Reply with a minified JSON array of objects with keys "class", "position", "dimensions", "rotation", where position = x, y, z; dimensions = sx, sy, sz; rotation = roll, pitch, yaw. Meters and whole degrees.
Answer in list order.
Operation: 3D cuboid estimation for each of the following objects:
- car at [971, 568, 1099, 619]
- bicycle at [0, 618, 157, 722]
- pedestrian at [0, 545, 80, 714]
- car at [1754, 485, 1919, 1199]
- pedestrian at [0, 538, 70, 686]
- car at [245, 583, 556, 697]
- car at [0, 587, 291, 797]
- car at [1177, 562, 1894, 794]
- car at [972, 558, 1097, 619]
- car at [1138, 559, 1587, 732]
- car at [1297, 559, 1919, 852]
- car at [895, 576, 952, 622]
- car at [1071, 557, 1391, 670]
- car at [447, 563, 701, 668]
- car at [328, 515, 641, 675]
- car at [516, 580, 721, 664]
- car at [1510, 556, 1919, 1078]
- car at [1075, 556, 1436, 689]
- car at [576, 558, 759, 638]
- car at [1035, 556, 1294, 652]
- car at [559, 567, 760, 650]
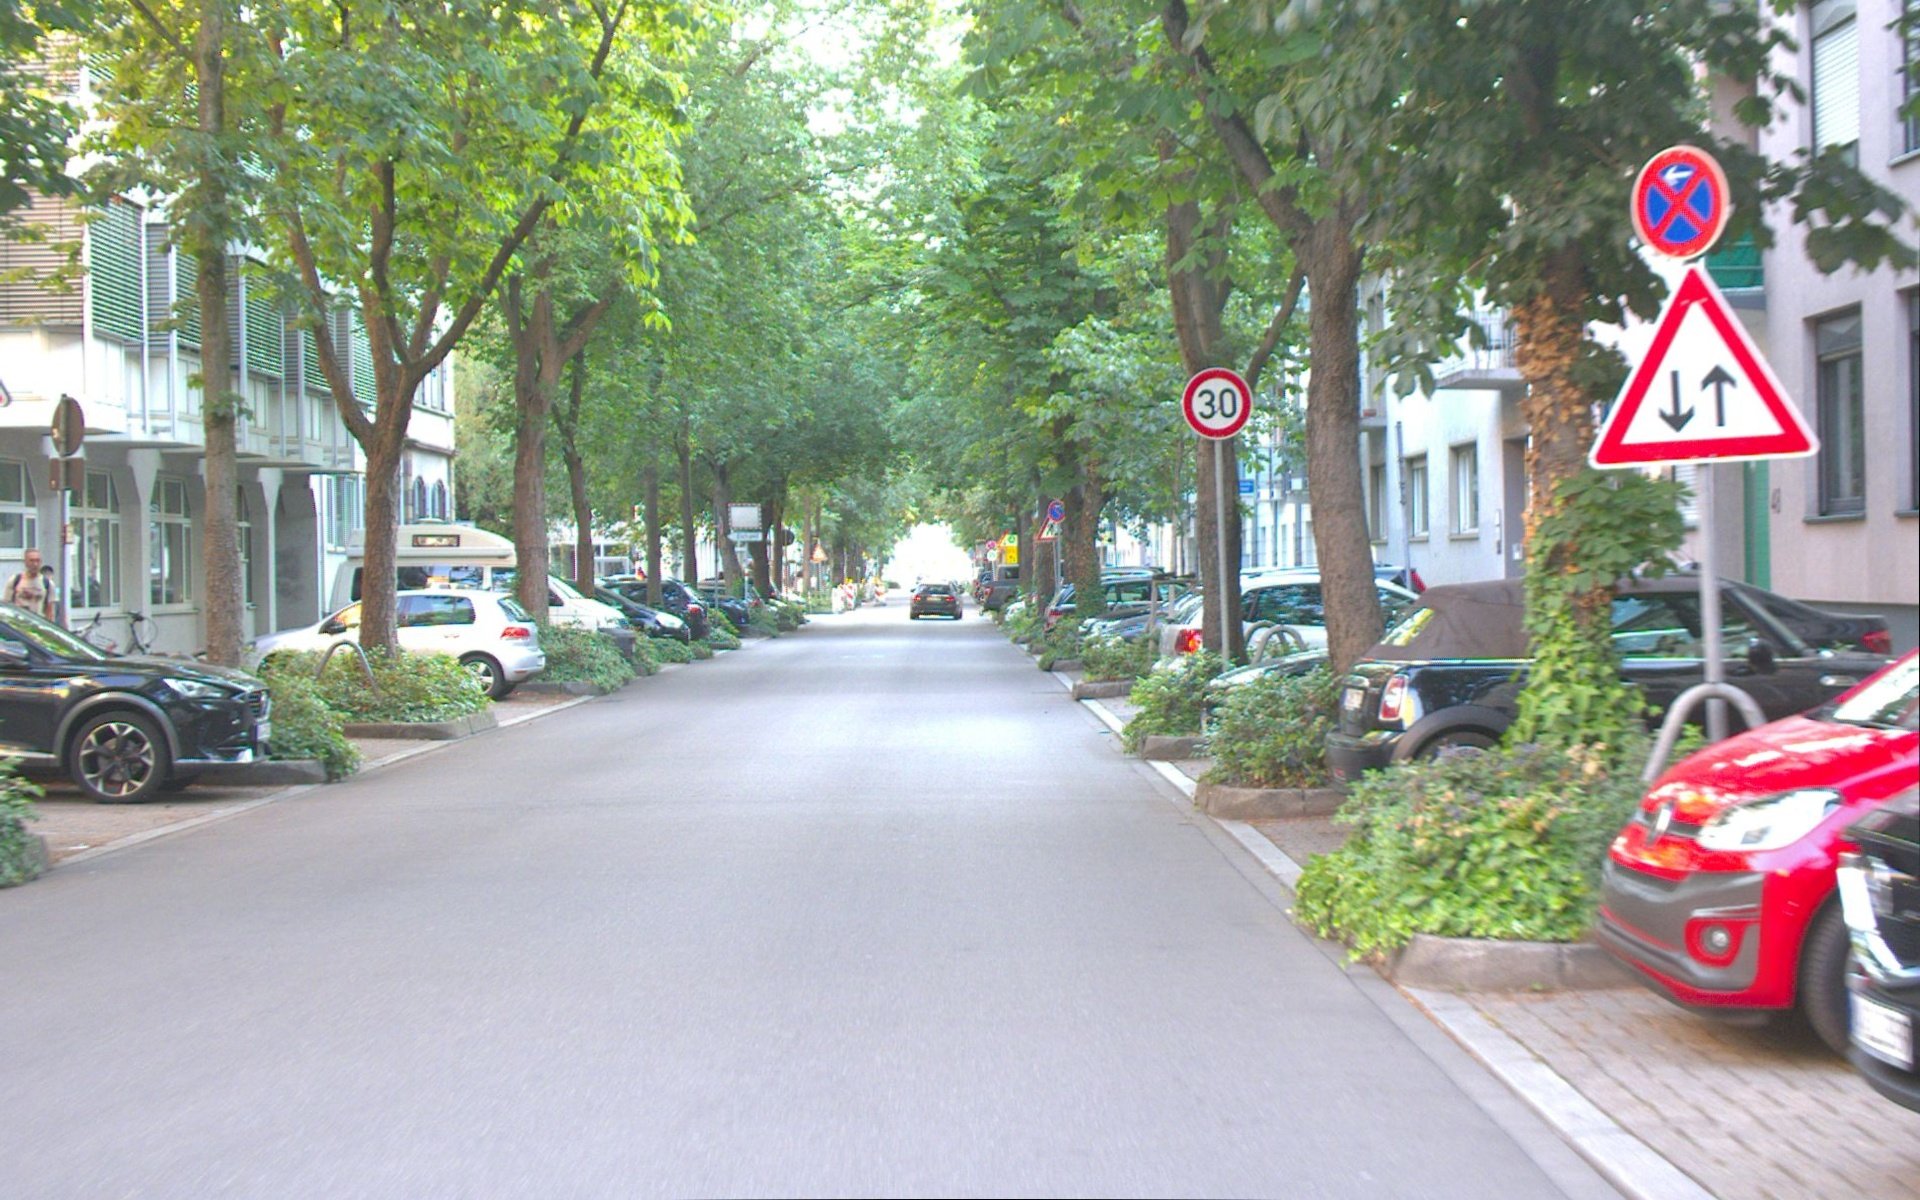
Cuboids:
[{"class":"car","position":[2.555,-0.214,117.646],"dimensions":[4.268,1.560,1.963],"rotation":[-2,0,0]},{"class":"bicycle","position":[-9.176,0.712,35.439],"dimensions":[1.796,1.026,0.499],"rotation":[1,0,23]},{"class":"pedestrian","position":[-9.790,0.304,36.213],"dimensions":[0.704,1.751,0.739],"rotation":[0,0,24]},{"class":"car","position":[4.194,0.533,7.608],"dimensions":[4.426,1.650,1.899],"rotation":[-1,1,1]},{"class":"pedestrian","position":[-10.980,0.137,40.594],"dimensions":[0.703,1.722,0.905],"rotation":[0,0,0]},{"class":"car","position":[-7.505,0.522,46.327],"dimensions":[3.871,1.481,1.757],"rotation":[0,0,2]},{"class":"car","position":[-7.195,0.647,25.455],"dimensions":[4.127,1.481,1.929],"rotation":[0,0,-1]},{"class":"car","position":[3.988,0.522,24.445],"dimensions":[4.711,1.416,2.036],"rotation":[-2,1,0]},{"class":"car","position":[2.597,-0.403,120.482],"dimensions":[4.268,1.955,1.963],"rotation":[-2,0,0]},{"class":"car","position":[3.723,0.403,32.246],"dimensions":[3.876,1.435,1.848],"rotation":[-2,1,-3]},{"class":"car","position":[3.783,0.553,19.382],"dimensions":[3.483,1.447,1.900],"rotation":[-2,1,-2]},{"class":"car","position":[-1.300,-0.054,125.041],"dimensions":[1.956,1.560,4.282],"rotation":[-2,0,0]},{"class":"car","position":[4.103,0.199,52.623],"dimensions":[4.682,1.516,1.963],"rotation":[-2,0,0]},{"class":"car","position":[-7.503,0.293,67.123],"dimensions":[4.682,1.848,1.963],"rotation":[-2,0,0]},{"class":"car","position":[-7.514,-0.088,54.669],"dimensions":[4.682,2.469,2.000],"rotation":[0,0,0]},{"class":"car","position":[-7.411,0.472,74.848],"dimensions":[4.203,1.630,1.963],"rotation":[-2,0,0]},{"class":"car","position":[3.675,0.576,10.861],"dimensions":[3.483,1.447,1.900],"rotation":[-2,1,-2]},{"class":"car","position":[3.908,0.284,46.157],"dimensions":[4.718,1.704,1.950],"rotation":[0,1,2]},{"class":"car","position":[-7.963,-0.047,93.996],"dimensions":[4.762,1.977,1.963],"rotation":[-2,0,0]},{"class":"car","position":[3.654,0.068,61.536],"dimensions":[4.508,1.516,1.995],"rotation":[-2,0,3]},{"class":"car","position":[-7.188,0.194,82.540],"dimensions":[4.595,1.801,1.963],"rotation":[-2,0,0]}]
